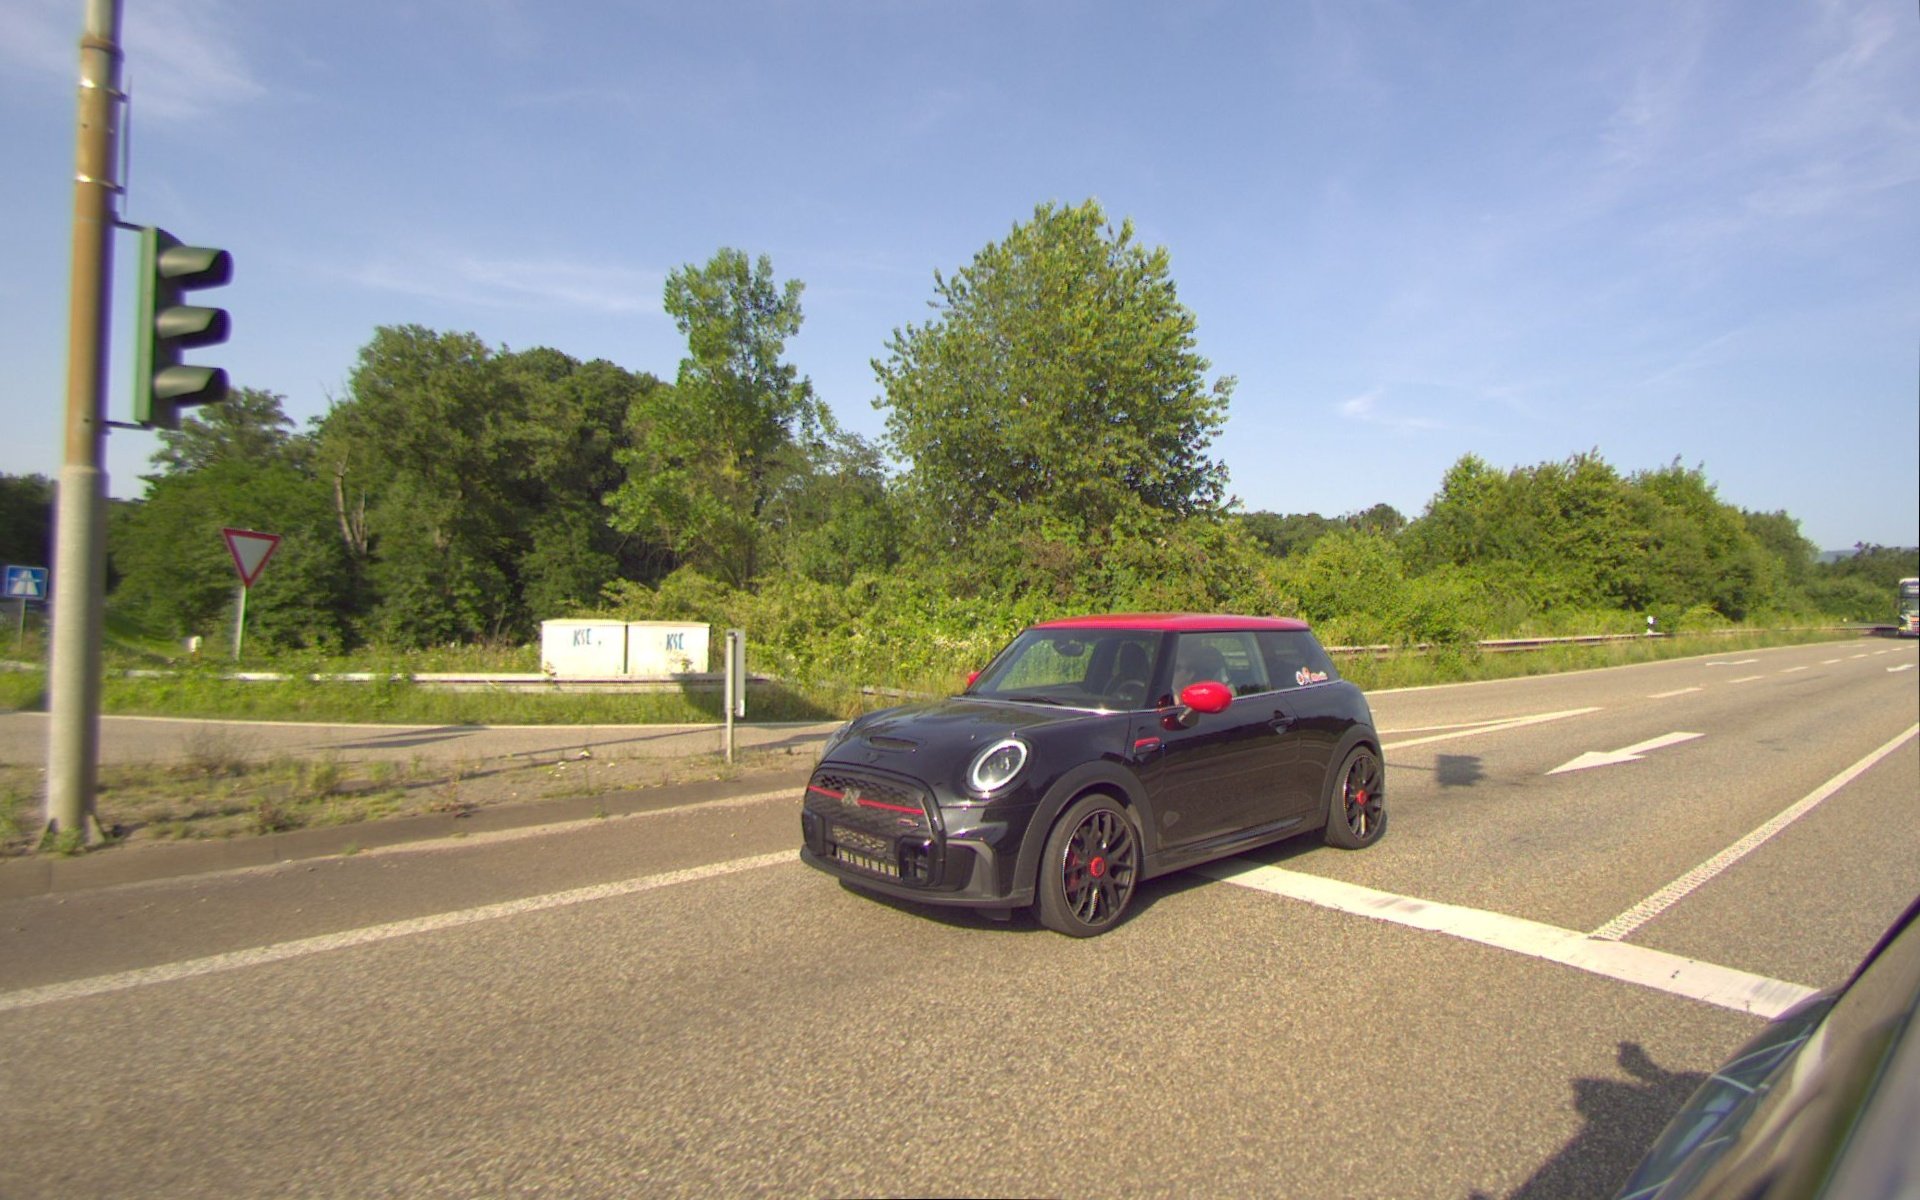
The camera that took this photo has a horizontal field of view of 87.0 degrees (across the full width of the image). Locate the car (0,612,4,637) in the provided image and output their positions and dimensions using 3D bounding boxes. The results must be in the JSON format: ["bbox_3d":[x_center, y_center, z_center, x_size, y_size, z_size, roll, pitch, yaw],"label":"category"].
[{"bbox_3d":[-56.816,1.440,58.414,1.834,1.459,4.122,1,-1,-36],"label":"car"}]

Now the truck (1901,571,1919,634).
[{"bbox_3d":[67.695,0.184,69.511,14.312,4.070,3.193,0,-1,-42],"label":"truck"}]

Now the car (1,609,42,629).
[{"bbox_3d":[-69.861,1.399,75.366,1.835,1.459,4.120,1,-1,-38],"label":"car"}]

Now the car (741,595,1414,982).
[{"bbox_3d":[0.871,0.743,5.863,3.806,1.486,1.822,1,-1,-42],"label":"car"}]
